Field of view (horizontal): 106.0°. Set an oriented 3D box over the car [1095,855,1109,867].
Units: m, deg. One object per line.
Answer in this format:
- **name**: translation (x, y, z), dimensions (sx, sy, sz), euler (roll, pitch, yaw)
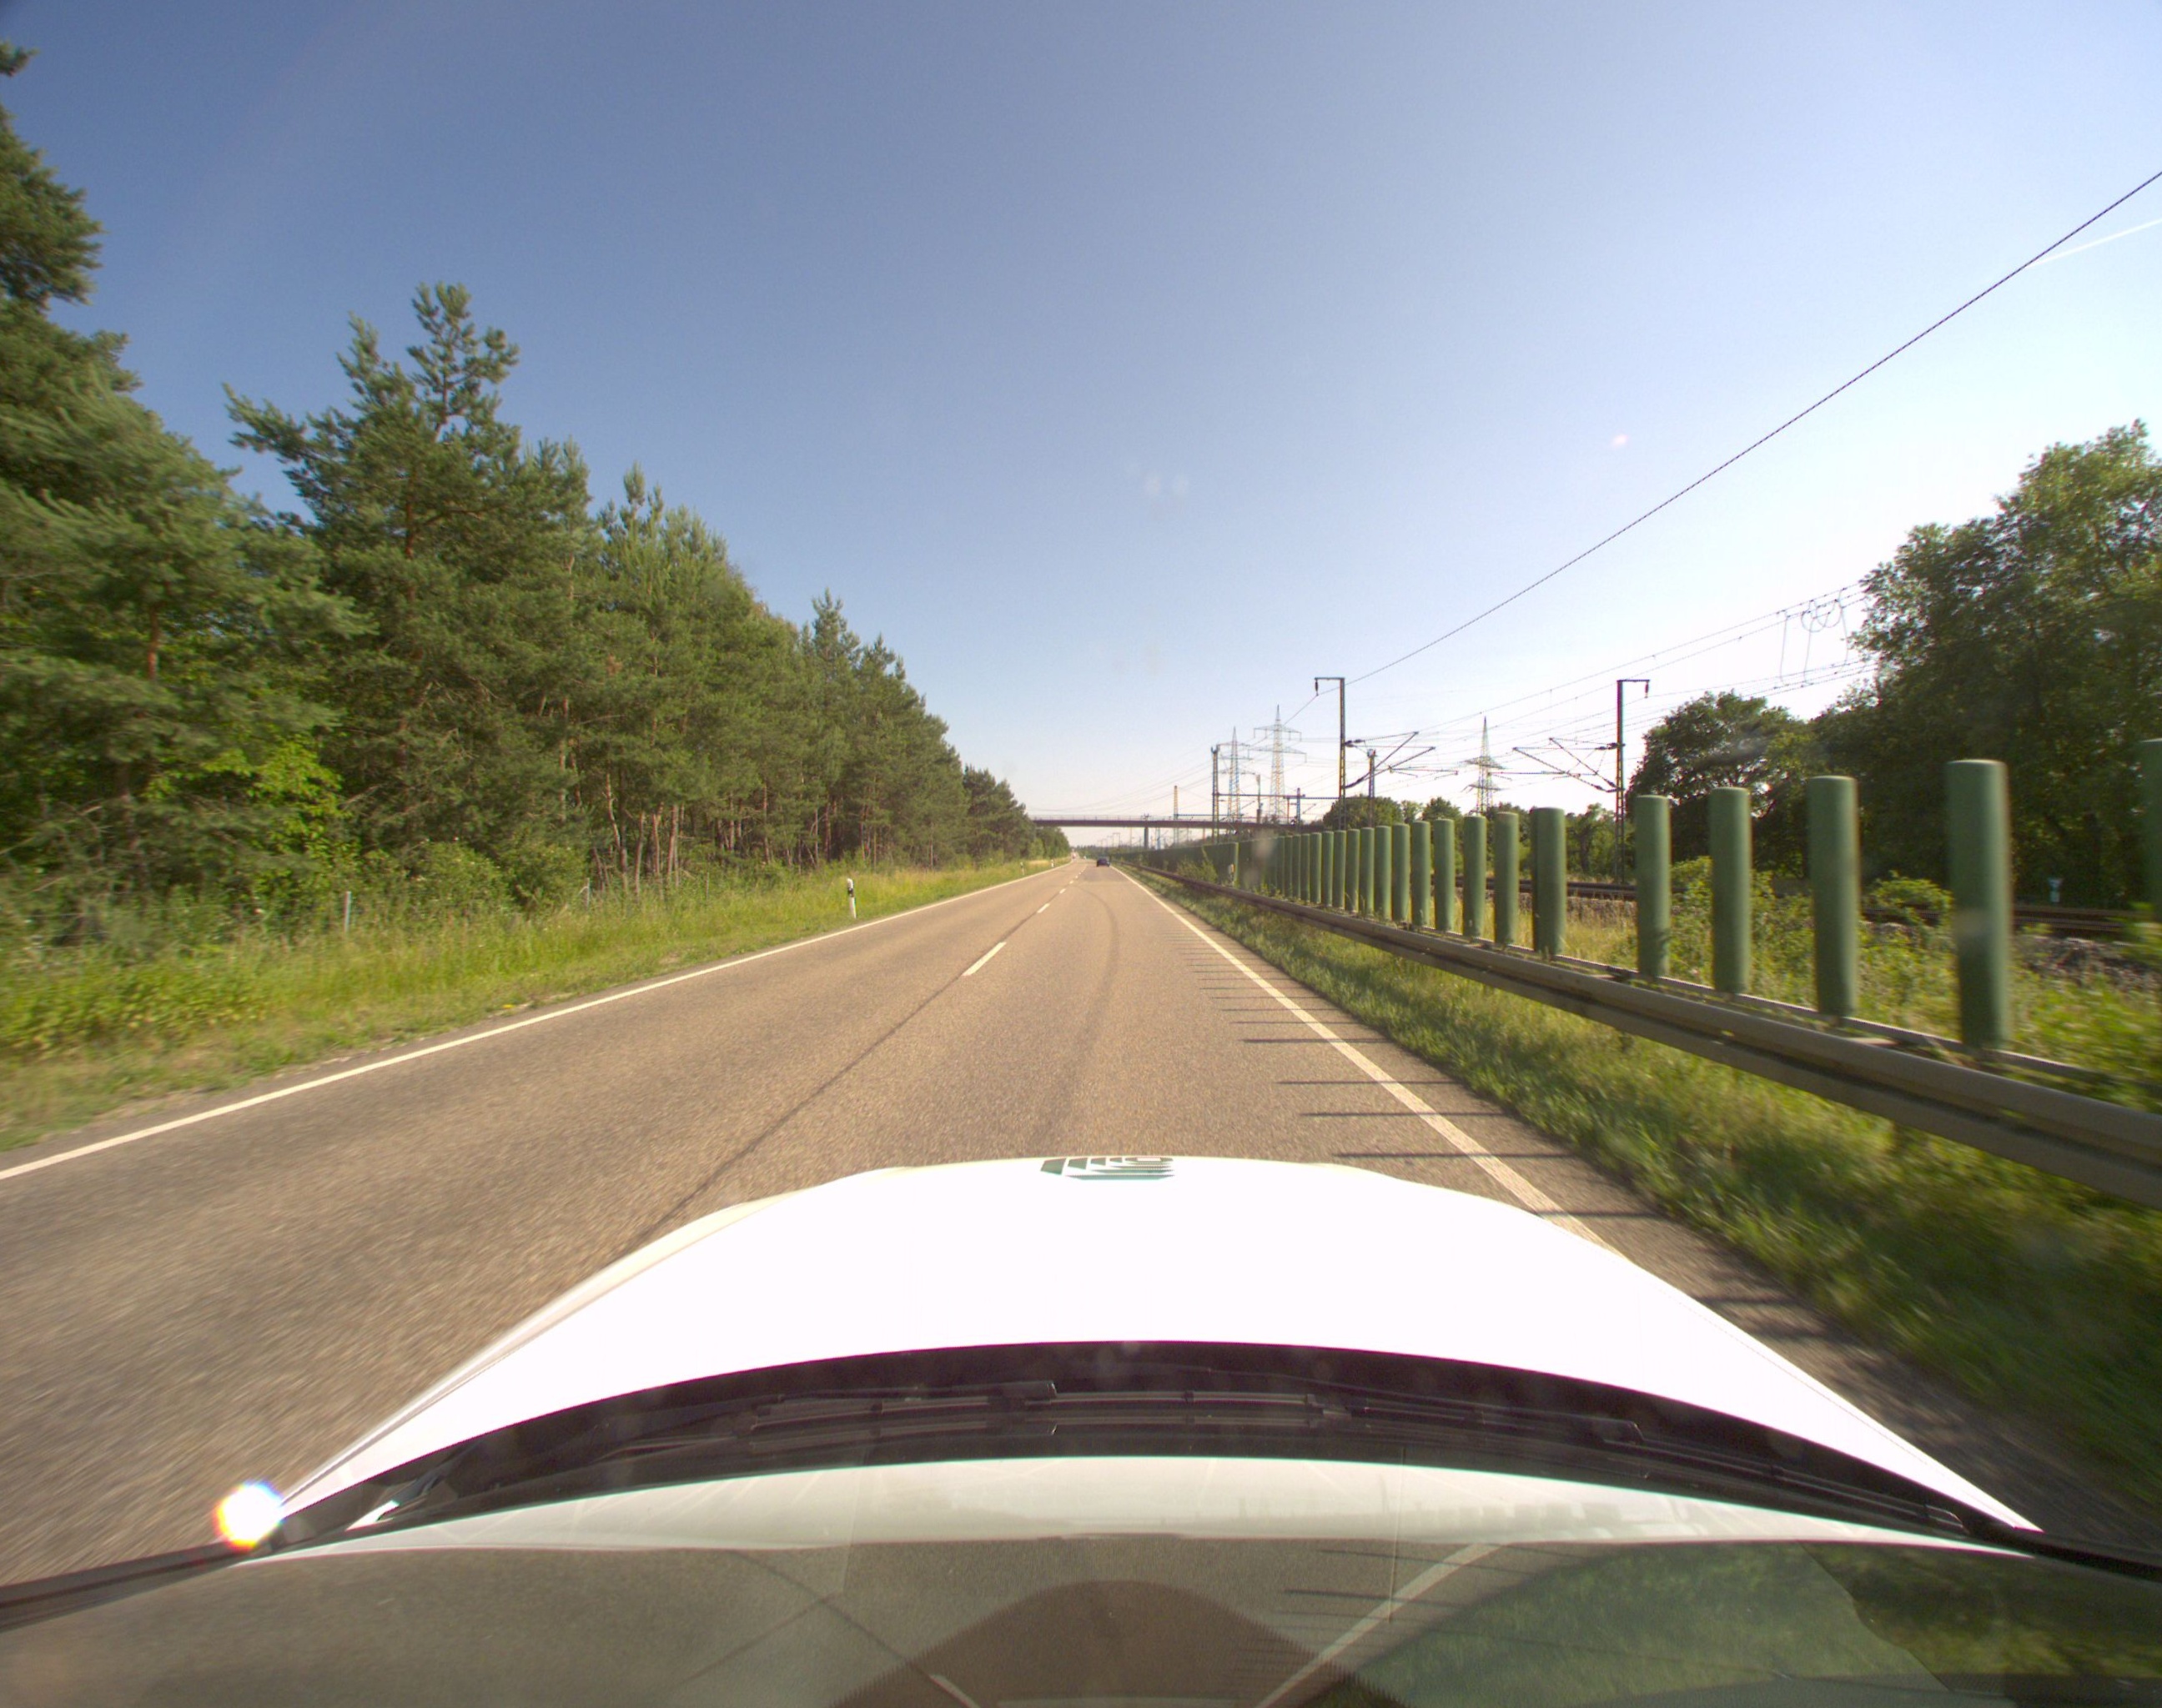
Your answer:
- **car**: translation (2.926, 0.970, 115.575), dimensions (1.853, 1.642, 3.999), euler (-2, 0, 0)
